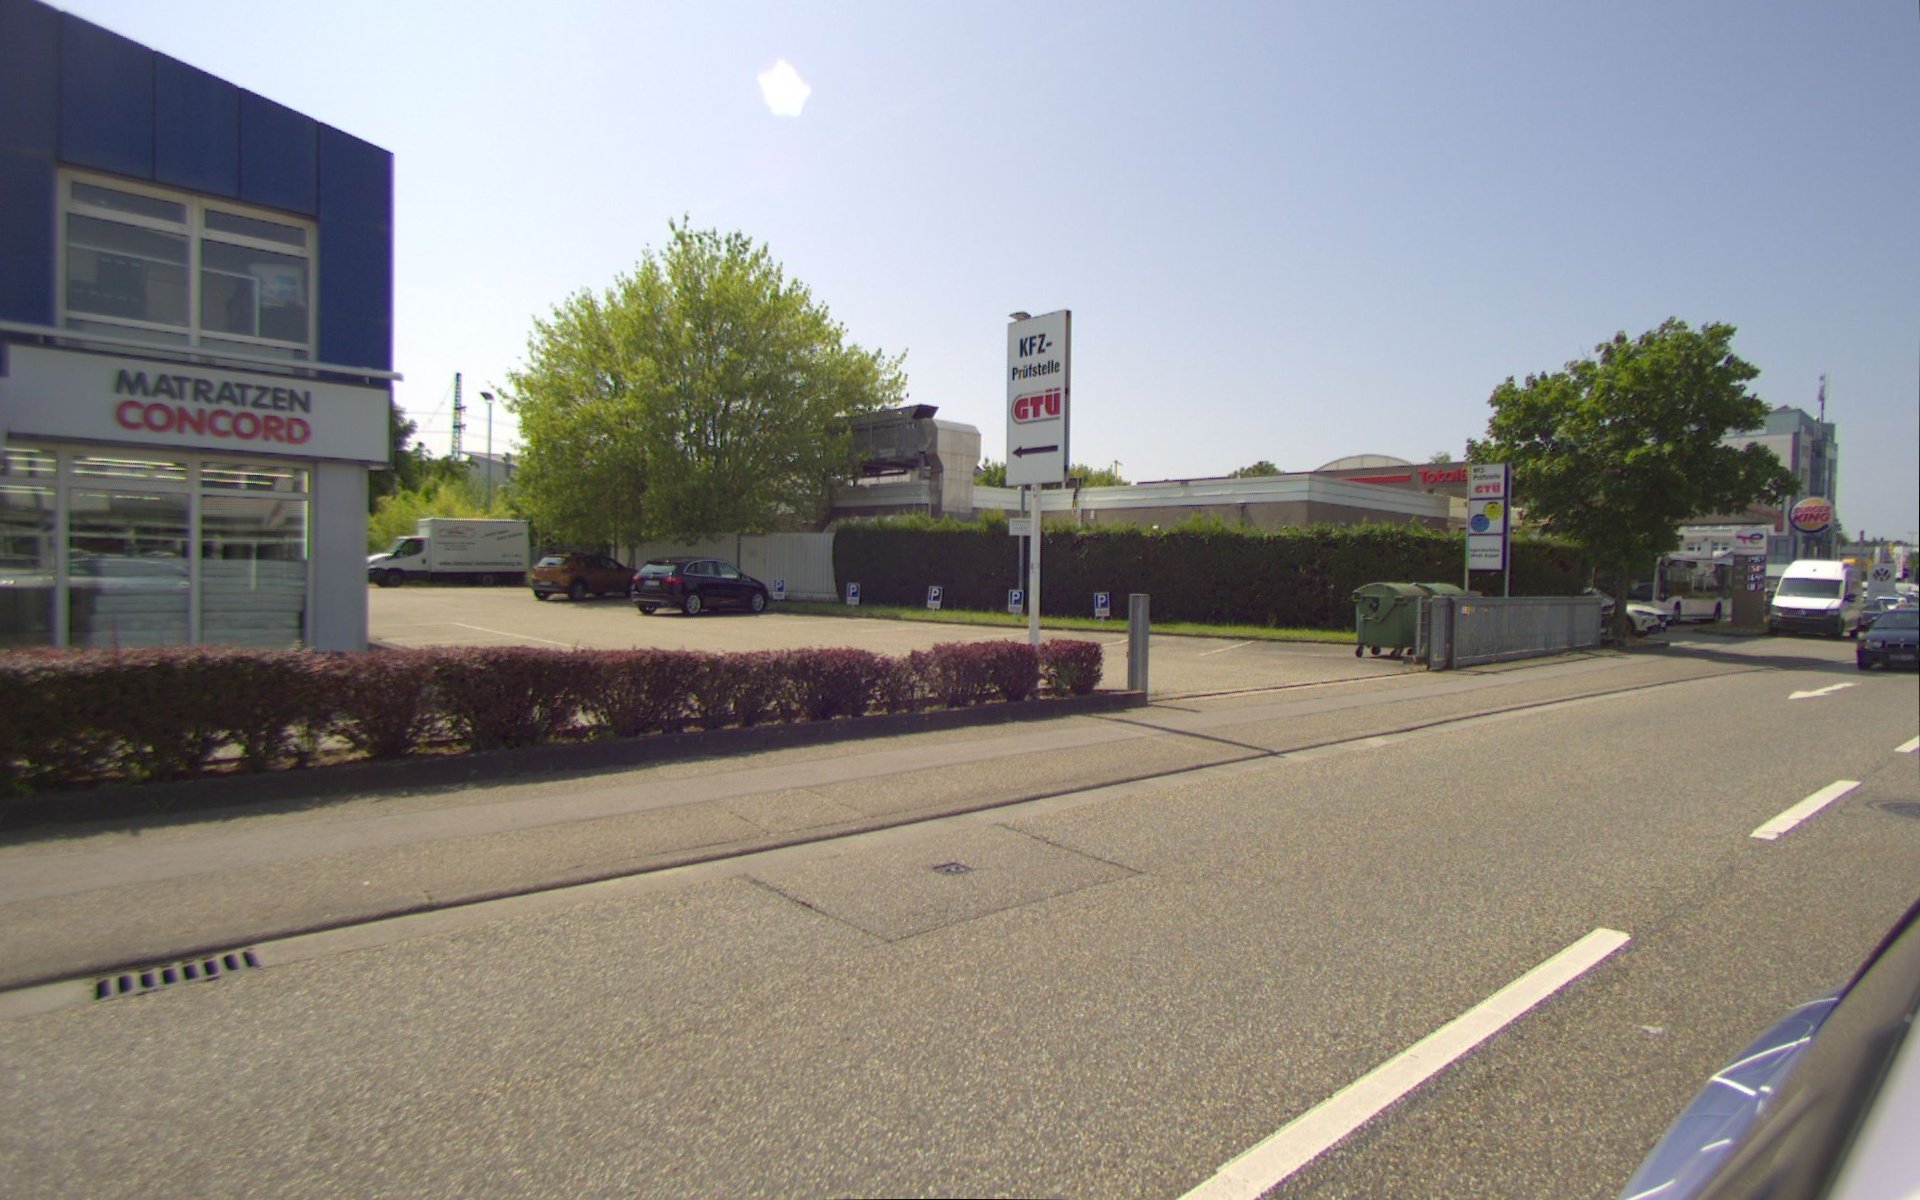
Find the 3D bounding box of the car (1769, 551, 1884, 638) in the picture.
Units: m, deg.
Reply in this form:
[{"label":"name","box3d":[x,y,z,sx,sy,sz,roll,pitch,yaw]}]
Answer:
[{"label":"car","box3d":[31.718,-0.237,36.931,7.154,2.807,2.181,0,4,-43]}]

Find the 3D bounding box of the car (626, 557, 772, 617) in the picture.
[{"label":"car","box3d":[-7.022,-0.369,27.604,1.504,1.490,3.957,2,2,30]}]

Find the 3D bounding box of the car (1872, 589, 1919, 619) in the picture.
[{"label":"car","box3d":[54.127,0.213,58.320,3.931,1.600,1.859,0,4,-42]}]

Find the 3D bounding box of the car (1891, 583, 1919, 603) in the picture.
[{"label":"car","box3d":[91.491,-0.619,96.495,3.988,1.787,1.698,3,2,44]}]

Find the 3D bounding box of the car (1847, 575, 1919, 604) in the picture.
[{"label":"car","box3d":[92.785,-1.051,100.563,1.689,2.636,6.906,1,2,-20]}]

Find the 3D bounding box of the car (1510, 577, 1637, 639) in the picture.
[{"label":"car","box3d":[17.191,0.182,28.284,4.559,1.484,1.797,0,4,-43]}]

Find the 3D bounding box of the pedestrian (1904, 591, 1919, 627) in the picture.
[{"label":"pedestrian","box3d":[43.896,0.411,46.448,0.807,1.600,0.703,0,4,-43]}]

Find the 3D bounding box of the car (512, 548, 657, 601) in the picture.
[{"label":"car","box3d":[-12.601,-0.862,34.252,1.979,1.643,4.502,2,2,25]}]

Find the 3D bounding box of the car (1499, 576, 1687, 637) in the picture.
[{"label":"car","box3d":[19.871,0.144,31.963,1.872,1.545,4.636,0,4,-39]}]

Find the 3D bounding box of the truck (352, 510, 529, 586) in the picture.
[{"label":"truck","box3d":[-22.526,-2.179,44.100,6.516,3.045,2.210,0,2,-42]}]

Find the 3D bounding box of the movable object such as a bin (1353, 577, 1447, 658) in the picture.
[{"label":"movable object such as a bin","box3d":[8.624,0.310,19.843,1.463,1.488,1.133,0,2,-41]}]

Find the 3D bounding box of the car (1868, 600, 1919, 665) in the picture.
[{"label":"car","box3d":[21.637,0.696,22.618,3.692,1.356,1.630,0,0,-42]}]

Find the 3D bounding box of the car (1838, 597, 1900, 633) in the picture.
[{"label":"car","box3d":[41.464,0.638,46.133,3.776,1.466,1.679,0,4,-43]}]

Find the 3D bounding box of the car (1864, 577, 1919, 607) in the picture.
[{"label":"car","box3d":[65.145,-0.520,69.860,3.988,1.942,1.698,3,2,44]}]

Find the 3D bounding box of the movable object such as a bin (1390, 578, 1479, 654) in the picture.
[{"label":"movable object such as a bin","box3d":[9.795,0.304,20.885,1.463,1.488,1.133,0,2,-41]}]

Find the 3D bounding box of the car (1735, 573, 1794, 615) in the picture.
[{"label":"car","box3d":[50.167,-0.393,63.066,5.482,2.465,2.055,0,2,-43]}]

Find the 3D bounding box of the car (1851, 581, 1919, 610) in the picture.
[{"label":"car","box3d":[68.295,-0.354,74.450,3.988,1.941,1.698,3,2,44]}]

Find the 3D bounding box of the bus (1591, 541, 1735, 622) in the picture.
[{"label":"bus","box3d":[30.790,-0.797,44.125,8.915,3.191,2.756,0,2,-39]}]
